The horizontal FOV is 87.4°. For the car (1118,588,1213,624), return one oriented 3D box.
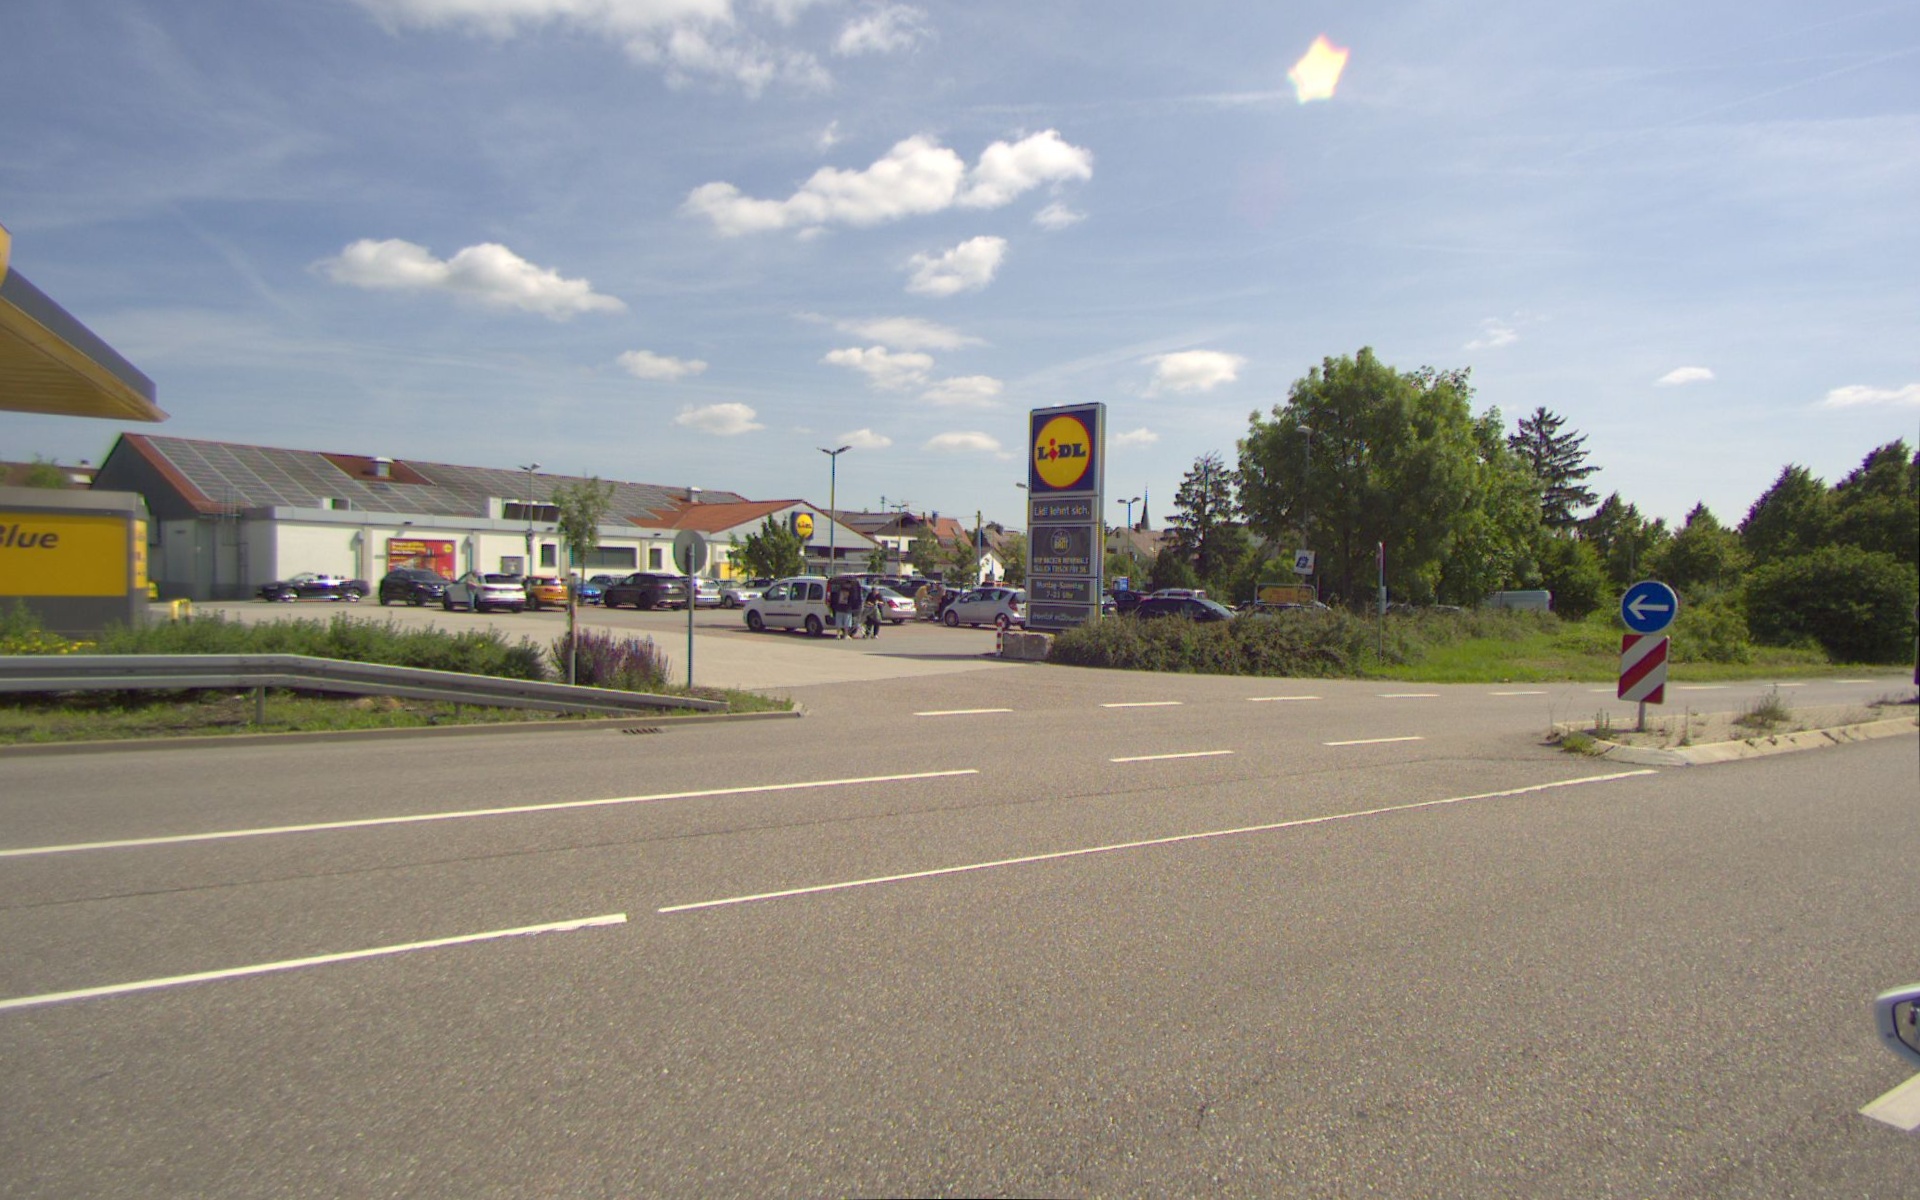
[{"bbox_3d":[10.520,0.299,51.533,4.354,1.717,1.994,1,0,34],"label":"car"}]

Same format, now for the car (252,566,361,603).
[{"bbox_3d":[-29.953,-0.691,46.140,1.725,1.634,3.860,1,0,38],"label":"car"}]

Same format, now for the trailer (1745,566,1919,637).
[{"bbox_3d":[55.928,0.036,61.537,2.750,4.116,13.693,0,1,-13],"label":"trailer"}]

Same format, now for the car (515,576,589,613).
[{"bbox_3d":[-17.372,-0.256,42.664,1.870,1.461,3.955,1,1,-39],"label":"car"}]

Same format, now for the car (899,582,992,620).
[{"bbox_3d":[-0.672,0.041,44.904,3.937,1.549,1.772,2,0,38],"label":"car"}]

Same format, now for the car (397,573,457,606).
[{"bbox_3d":[-23.227,-0.467,43.706,1.702,1.328,3.957,1,1,-37],"label":"car"}]

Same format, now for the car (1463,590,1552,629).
[{"bbox_3d":[33.519,0.545,61.560,4.525,2.209,1.992,2,1,38],"label":"car"}]

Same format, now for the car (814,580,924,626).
[{"bbox_3d":[-3.720,0.098,40.690,4.354,1.698,1.858,2,1,38],"label":"car"}]

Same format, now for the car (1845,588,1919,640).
[{"bbox_3d":[51.265,0.702,54.527,2.081,2.690,5.989,2,1,12],"label":"car"}]

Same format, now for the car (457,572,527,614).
[{"bbox_3d":[-18.563,-0.310,39.762,1.753,1.561,3.957,0,2,-37],"label":"car"}]

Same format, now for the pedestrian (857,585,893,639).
[{"bbox_3d":[-2.593,0.358,30.646,0.692,1.596,0.807,2,0,33],"label":"pedestrian"}]

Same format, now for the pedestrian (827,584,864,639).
[{"bbox_3d":[-3.393,0.329,29.719,0.692,1.596,0.807,2,0,33],"label":"pedestrian"}]

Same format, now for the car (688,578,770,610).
[{"bbox_3d":[-11.587,-0.303,50.304,3.933,1.461,1.880,2,1,35],"label":"car"}]

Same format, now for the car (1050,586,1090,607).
[{"bbox_3d":[9.963,-0.325,91.063,1.867,1.782,3.987,2,0,35],"label":"car"}]

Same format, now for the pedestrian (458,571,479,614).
[{"bbox_3d":[-18.450,-0.280,37.704,0.497,1.573,0.516,2,0,35],"label":"pedestrian"}]

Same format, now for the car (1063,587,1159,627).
[{"bbox_3d":[6.949,0.330,46.352,3.940,1.711,1.917,2,0,40],"label":"car"}]

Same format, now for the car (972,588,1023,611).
[{"bbox_3d":[2.903,-0.023,76.933,1.850,1.562,4.242,2,0,37],"label":"car"}]

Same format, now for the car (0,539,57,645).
[{"bbox_3d":[-17.787,-0.135,16.575,3.949,1.751,1.726,1,-1,-27],"label":"car"}]

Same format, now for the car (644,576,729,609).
[{"bbox_3d":[-13.213,-0.353,48.485,3.933,1.461,1.880,2,1,35],"label":"car"}]

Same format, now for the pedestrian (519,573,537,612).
[{"bbox_3d":[-17.365,-0.305,40.359,0.512,1.573,0.500,2,0,-37],"label":"pedestrian"}]

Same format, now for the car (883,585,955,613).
[{"bbox_3d":[-2.492,-0.053,60.915,4.194,1.562,1.871,2,0,40],"label":"car"}]

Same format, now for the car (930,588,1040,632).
[{"bbox_3d":[0.946,0.358,39.559,4.082,1.522,1.775,3,1,39],"label":"car"}]

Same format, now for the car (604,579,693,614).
[{"bbox_3d":[-14.210,-0.165,45.773,3.933,1.461,1.880,2,1,35],"label":"car"}]

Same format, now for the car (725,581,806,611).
[{"bbox_3d":[-10.157,-0.217,52.380,3.933,1.461,1.880,2,1,35],"label":"car"}]

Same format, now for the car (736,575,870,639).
[{"bbox_3d":[-4.983,0.182,31.701,4.102,1.836,1.873,2,1,38],"label":"car"}]

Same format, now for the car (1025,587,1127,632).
[{"bbox_3d":[4.968,0.379,43.248,3.940,1.697,1.903,3,2,40],"label":"car"}]

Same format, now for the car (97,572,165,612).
[{"bbox_3d":[-40.910,-0.409,49.558,4.325,1.833,1.989,2,1,42],"label":"car"}]

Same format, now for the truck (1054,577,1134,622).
[{"bbox_3d":[7.534,-0.025,56.586,3.933,2.397,1.994,2,0,34],"label":"truck"}]
